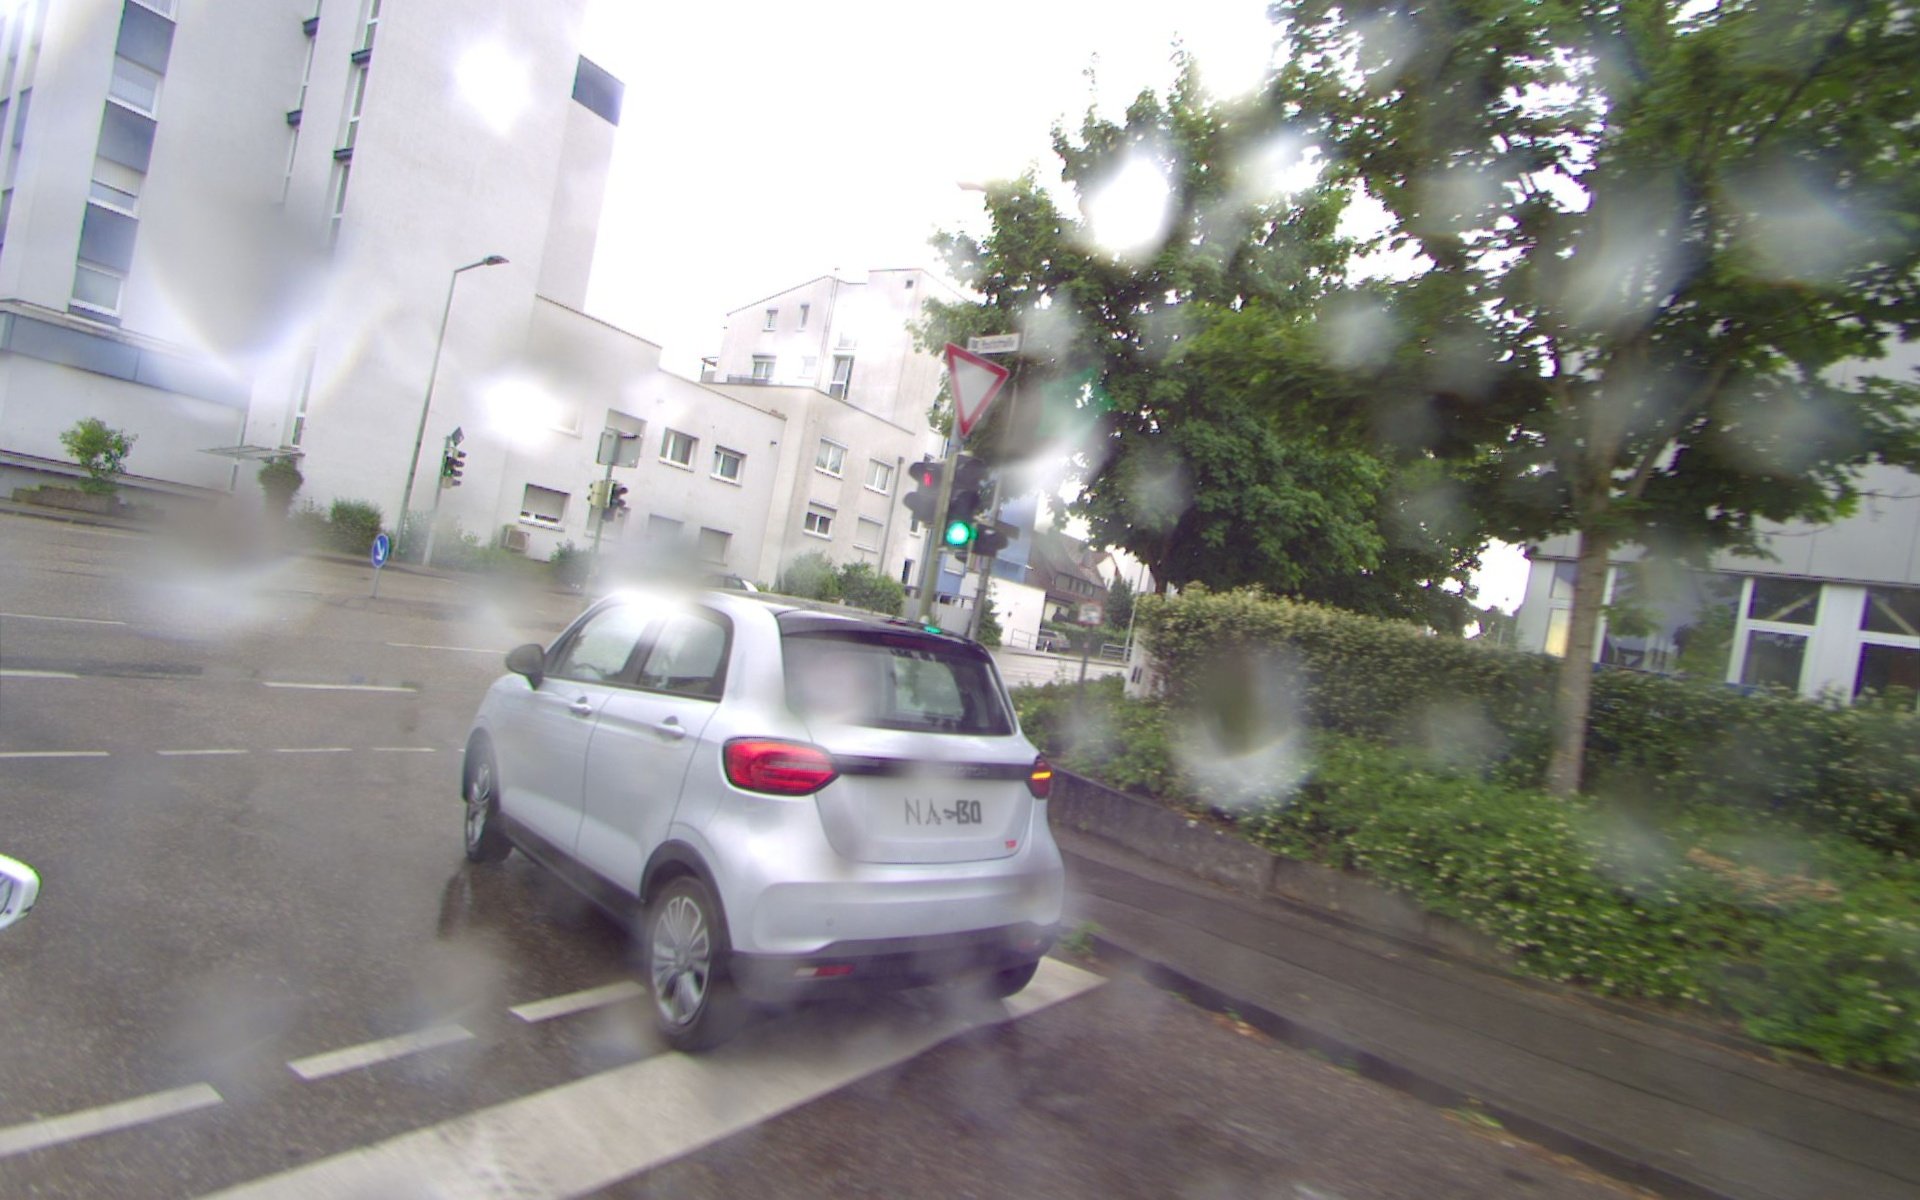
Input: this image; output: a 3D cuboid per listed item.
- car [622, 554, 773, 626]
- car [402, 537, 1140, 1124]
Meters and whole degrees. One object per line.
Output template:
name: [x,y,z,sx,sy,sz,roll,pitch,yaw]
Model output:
car: [-8.036,-0.272,31.040,1.717,1.504,4.134,11,1,40]
car: [-1.258,0.692,4.963,1.684,1.573,3.860,9,-1,-41]
